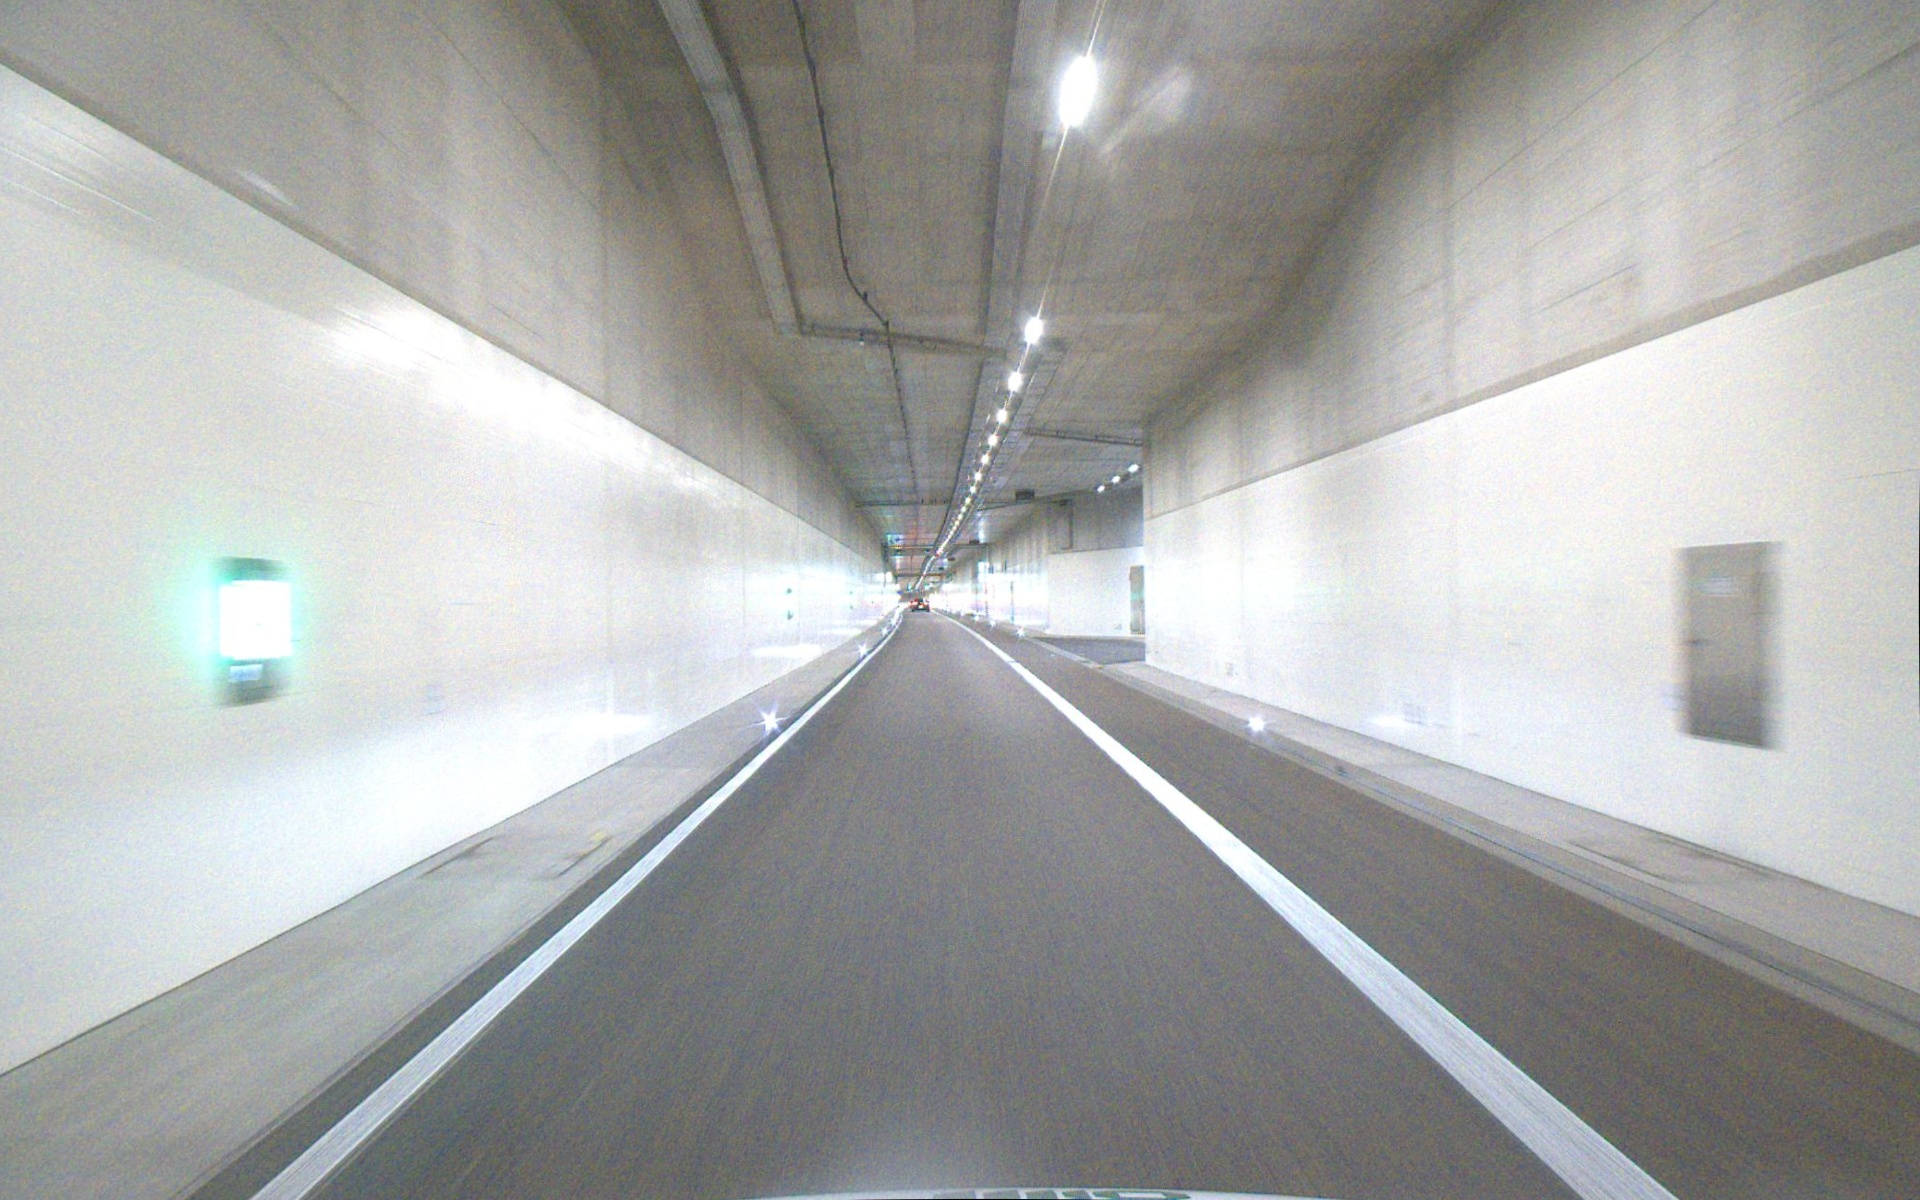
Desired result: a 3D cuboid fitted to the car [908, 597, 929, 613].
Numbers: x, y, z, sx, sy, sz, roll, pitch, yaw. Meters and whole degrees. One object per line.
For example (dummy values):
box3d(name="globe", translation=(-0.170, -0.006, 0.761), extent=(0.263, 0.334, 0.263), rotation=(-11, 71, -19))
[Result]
box3d(name="car", translation=(-4.272, 0.516, 169.243), extent=(1.954, 1.444, 3.998), rotation=(-3, 0, -2))
